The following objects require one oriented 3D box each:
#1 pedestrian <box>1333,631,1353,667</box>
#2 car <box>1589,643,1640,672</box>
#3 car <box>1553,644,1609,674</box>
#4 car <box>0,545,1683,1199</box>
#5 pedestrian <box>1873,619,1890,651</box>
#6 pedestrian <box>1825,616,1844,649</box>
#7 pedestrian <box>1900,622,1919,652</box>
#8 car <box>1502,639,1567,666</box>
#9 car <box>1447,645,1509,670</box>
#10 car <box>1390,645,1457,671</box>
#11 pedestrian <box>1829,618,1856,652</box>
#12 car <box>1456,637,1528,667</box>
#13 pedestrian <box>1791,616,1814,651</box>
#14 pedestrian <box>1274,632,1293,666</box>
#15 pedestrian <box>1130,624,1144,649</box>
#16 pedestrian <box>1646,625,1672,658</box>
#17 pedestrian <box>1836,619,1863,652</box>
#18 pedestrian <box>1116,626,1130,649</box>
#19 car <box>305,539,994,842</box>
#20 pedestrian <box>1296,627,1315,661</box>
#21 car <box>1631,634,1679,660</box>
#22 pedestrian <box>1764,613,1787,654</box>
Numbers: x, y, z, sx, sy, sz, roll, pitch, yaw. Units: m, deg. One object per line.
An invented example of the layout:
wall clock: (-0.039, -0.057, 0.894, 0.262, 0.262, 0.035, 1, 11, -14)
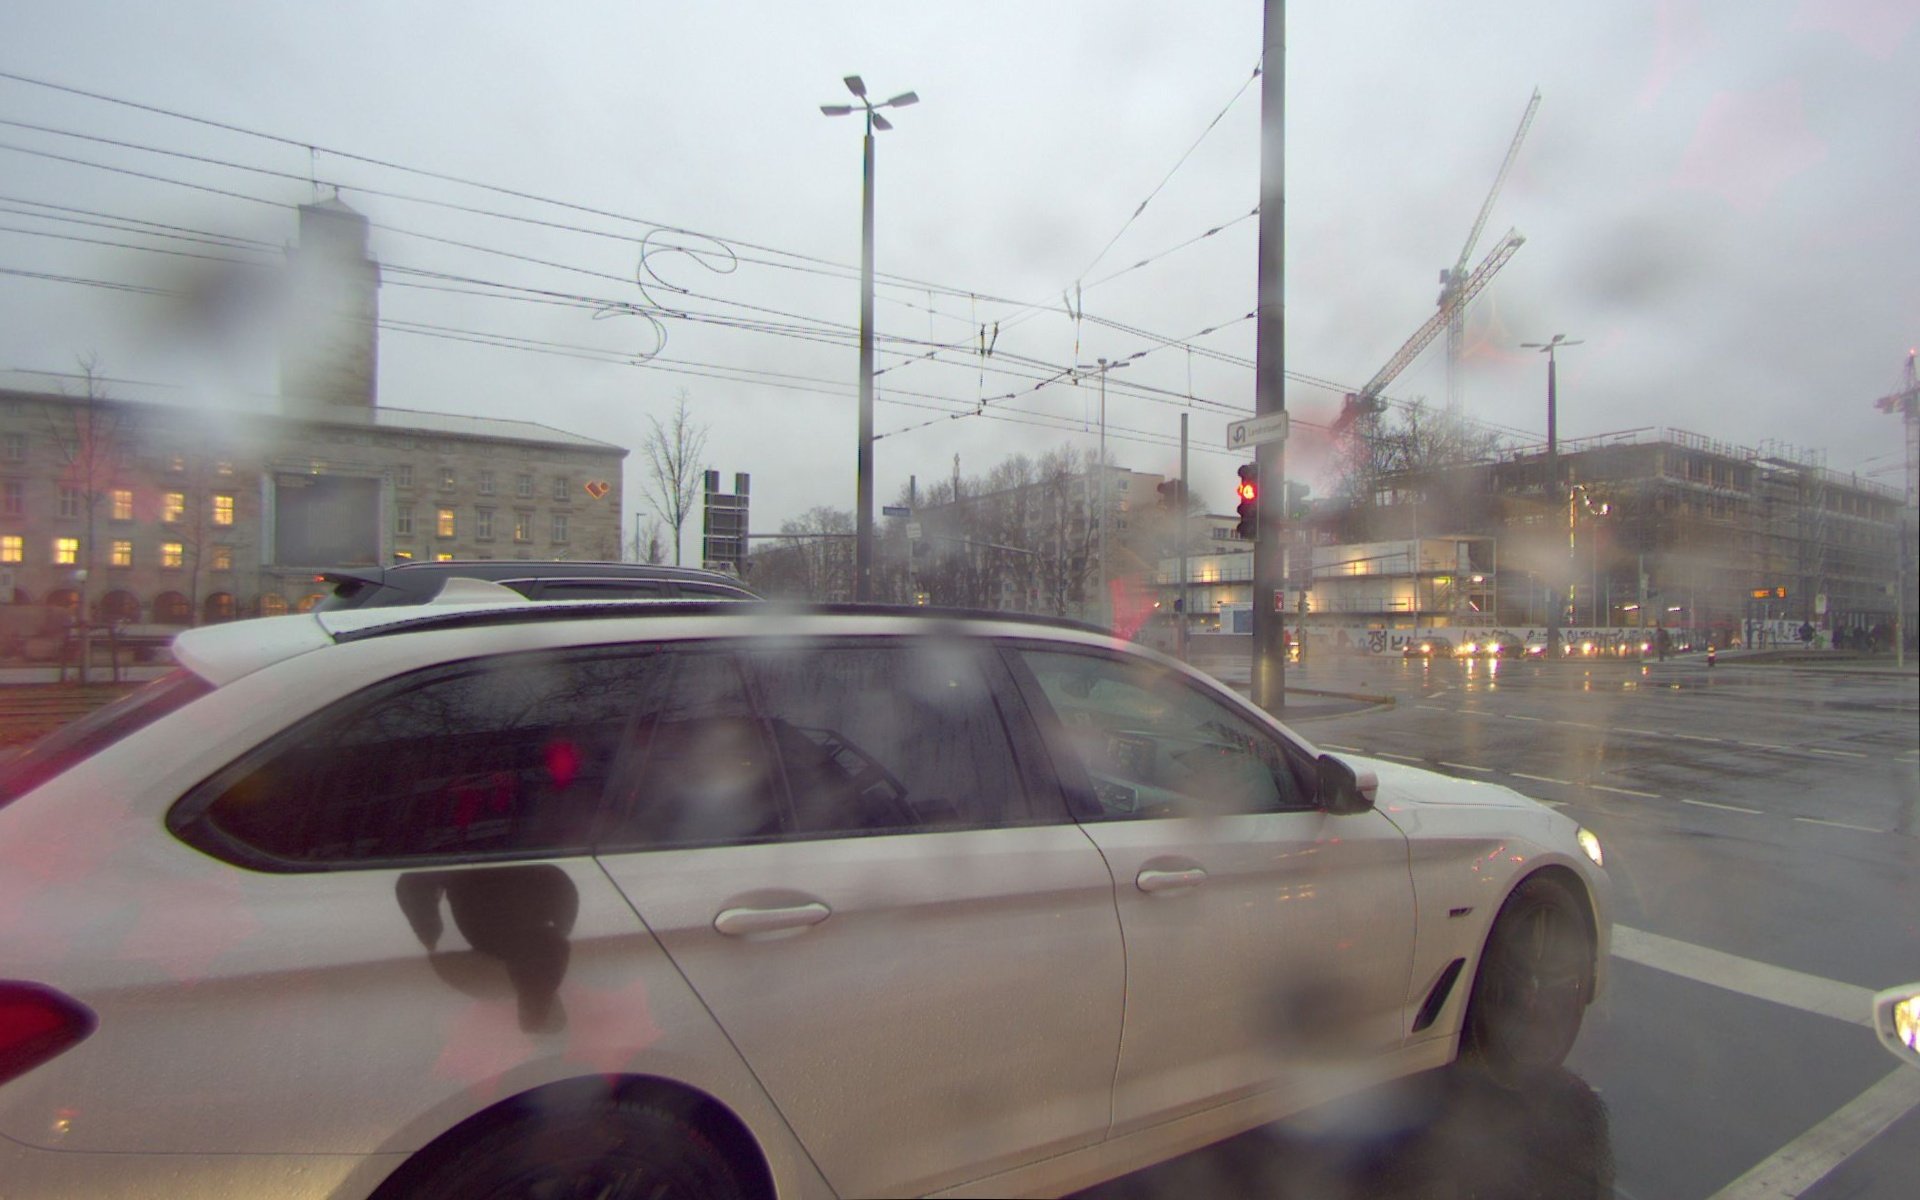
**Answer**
pedestrian: (23.856, 3.032, 62.534, 0.758, 2.194, 0.867, 2, 0, -38)
car: (45.375, 3.961, 69.648, 3.970, 1.814, 1.976, 2, 0, -42)
car: (41.055, 3.871, 66.394, 3.963, 1.852, 1.852, 2, 0, -37)
car: (0.010, 0.753, 3.092, 4.508, 1.506, 2.007, 2, -2, -31)
pedestrian: (57.966, 2.198, 63.199, 0.659, 1.994, 0.566, 2, 1, -36)
pedestrian: (50.708, 1.891, 58.242, 0.547, 1.906, 0.695, 2, 0, -30)
pedestrian: (65.998, 2.569, 69.625, 1.082, 2.040, 0.937, 2, 0, -32)
car: (35.874, 3.252, 62.715, 4.577, 1.550, 2.059, 2, -2, -40)
car: (34.870, 3.862, 67.605, 3.953, 1.550, 1.984, 2, -2, -30)
car: (29.402, 3.654, 63.710, 3.953, 1.550, 1.984, 2, -2, -30)
pedestrian: (54.225, 2.173, 61.741, 1.082, 2.040, 0.937, 2, 0, -32)
car: (31.297, 3.058, 59.086, 3.953, 1.679, 1.984, 2, -2, -30)
pedestrian: (48.105, 1.917, 57.362, 0.754, 1.922, 0.761, 3, -1, -30)
pedestrian: (20.156, 3.062, 62.592, 0.619, 2.040, 0.856, 2, 0, -34)
pedestrian: (13.855, 2.879, 78.752, 0.709, 1.927, 0.787, 1, -1, -31)
pedestrian: (30.620, 1.827, 44.014, 0.716, 1.407, 0.725, 2, 0, 19)
pedestrian: (55.600, 2.220, 62.784, 1.082, 2.040, 0.937, 2, 0, -32)
pedestrian: (12.702, 2.912, 78.251, 0.714, 1.800, 0.789, 1, -1, -23)
car: (-2.071, 0.555, 7.229, 4.238, 1.605, 1.958, 2, -1, -29)
pedestrian: (21.362, 2.705, 62.168, 0.737, 2.040, 0.783, 2, 0, -25)
car: (50.734, 3.419, 73.311, 3.970, 1.814, 1.976, 2, 0, -42)
pedestrian: (47.062, 1.929, 57.947, 0.754, 2.354, 0.761, 3, -1, -30)
